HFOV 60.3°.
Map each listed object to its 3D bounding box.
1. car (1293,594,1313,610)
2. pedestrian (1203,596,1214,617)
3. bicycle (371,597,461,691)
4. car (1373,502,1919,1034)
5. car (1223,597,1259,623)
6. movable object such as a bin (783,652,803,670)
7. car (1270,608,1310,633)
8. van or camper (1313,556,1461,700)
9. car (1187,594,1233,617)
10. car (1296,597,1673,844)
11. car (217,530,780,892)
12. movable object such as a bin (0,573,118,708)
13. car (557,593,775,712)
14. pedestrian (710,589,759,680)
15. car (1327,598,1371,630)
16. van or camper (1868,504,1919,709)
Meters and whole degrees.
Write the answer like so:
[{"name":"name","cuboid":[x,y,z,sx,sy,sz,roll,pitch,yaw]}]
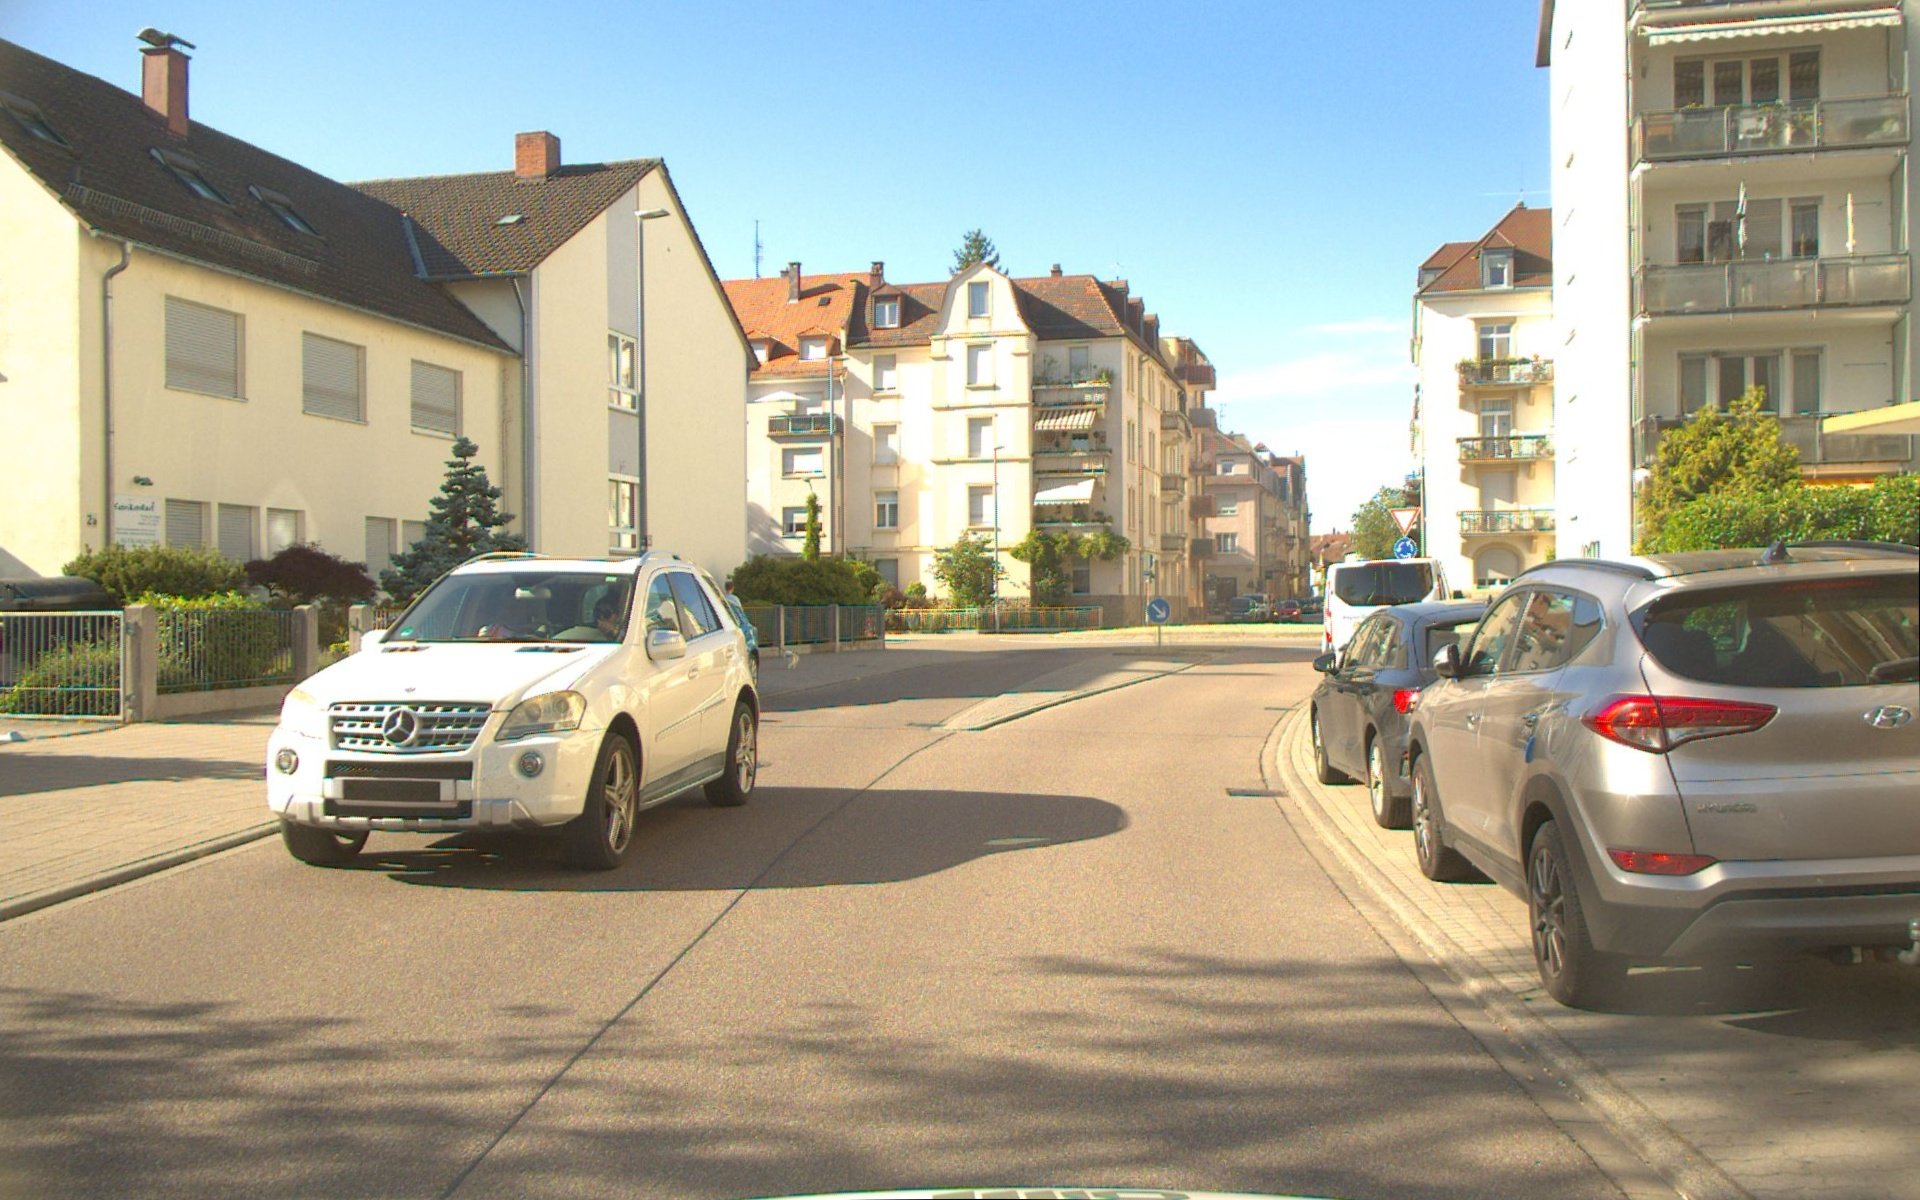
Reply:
[{"name":"car","cuboid":[36.052,0.208,173.669,1.951,1.657,4.003,0,0,10]},{"name":"pedestrian","cuboid":[20.899,0.535,139.236,0.782,1.781,0.845,0,0,17]},{"name":"bicycle","cuboid":[-7.707,0.638,23.502,0.446,1.272,1.929,-1,-3,6]},{"name":"car","cuboid":[3.186,0.630,7.524,1.779,1.682,4.561,-1,-3,4]},{"name":"car","cuboid":[17.426,0.597,102.585,1.951,1.559,4.003,0,0,13]},{"name":"movable object such as a bin","cuboid":[-3.314,1.211,32.864,0.215,0.354,0.521,0,0,16]},{"name":"car","cuboid":[20.567,1.290,102.962,1.705,1.378,3.668,-2,-3,23]},{"name":"van or camper","cuboid":[6.779,0.406,25.940,1.978,1.981,4.706,-3,-1,17]},{"name":"car","cuboid":[22.572,0.492,149.380,3.821,2.049,1.763,-1,0,23]},{"name":"car","cuboid":[3.641,0.742,12.271,1.681,1.433,4.317,-3,0,5]},{"name":"car","cuboid":[-2.605,0.574,10.647,1.947,1.816,4.522,-1,0,6]},{"name":"movable object such as a bin","cuboid":[-10.838,0.494,19.335,1.255,1.516,1.228,-1,-3,11]},{"name":"car","cuboid":[-4.060,0.674,23.563,1.759,1.499,4.334,1,0,8]},{"name":"pedestrian","cuboid":[-4.381,0.684,32.160,0.668,1.733,0.824,-1,-3,16]},{"name":"car","cuboid":[23.531,0.840,99.954,2.380,1.843,4.726,-1,0,16]},{"name":"van or camper","cuboid":[13.469,0.012,19.122,4.855,2.328,1.856,-1,0,15]}]
